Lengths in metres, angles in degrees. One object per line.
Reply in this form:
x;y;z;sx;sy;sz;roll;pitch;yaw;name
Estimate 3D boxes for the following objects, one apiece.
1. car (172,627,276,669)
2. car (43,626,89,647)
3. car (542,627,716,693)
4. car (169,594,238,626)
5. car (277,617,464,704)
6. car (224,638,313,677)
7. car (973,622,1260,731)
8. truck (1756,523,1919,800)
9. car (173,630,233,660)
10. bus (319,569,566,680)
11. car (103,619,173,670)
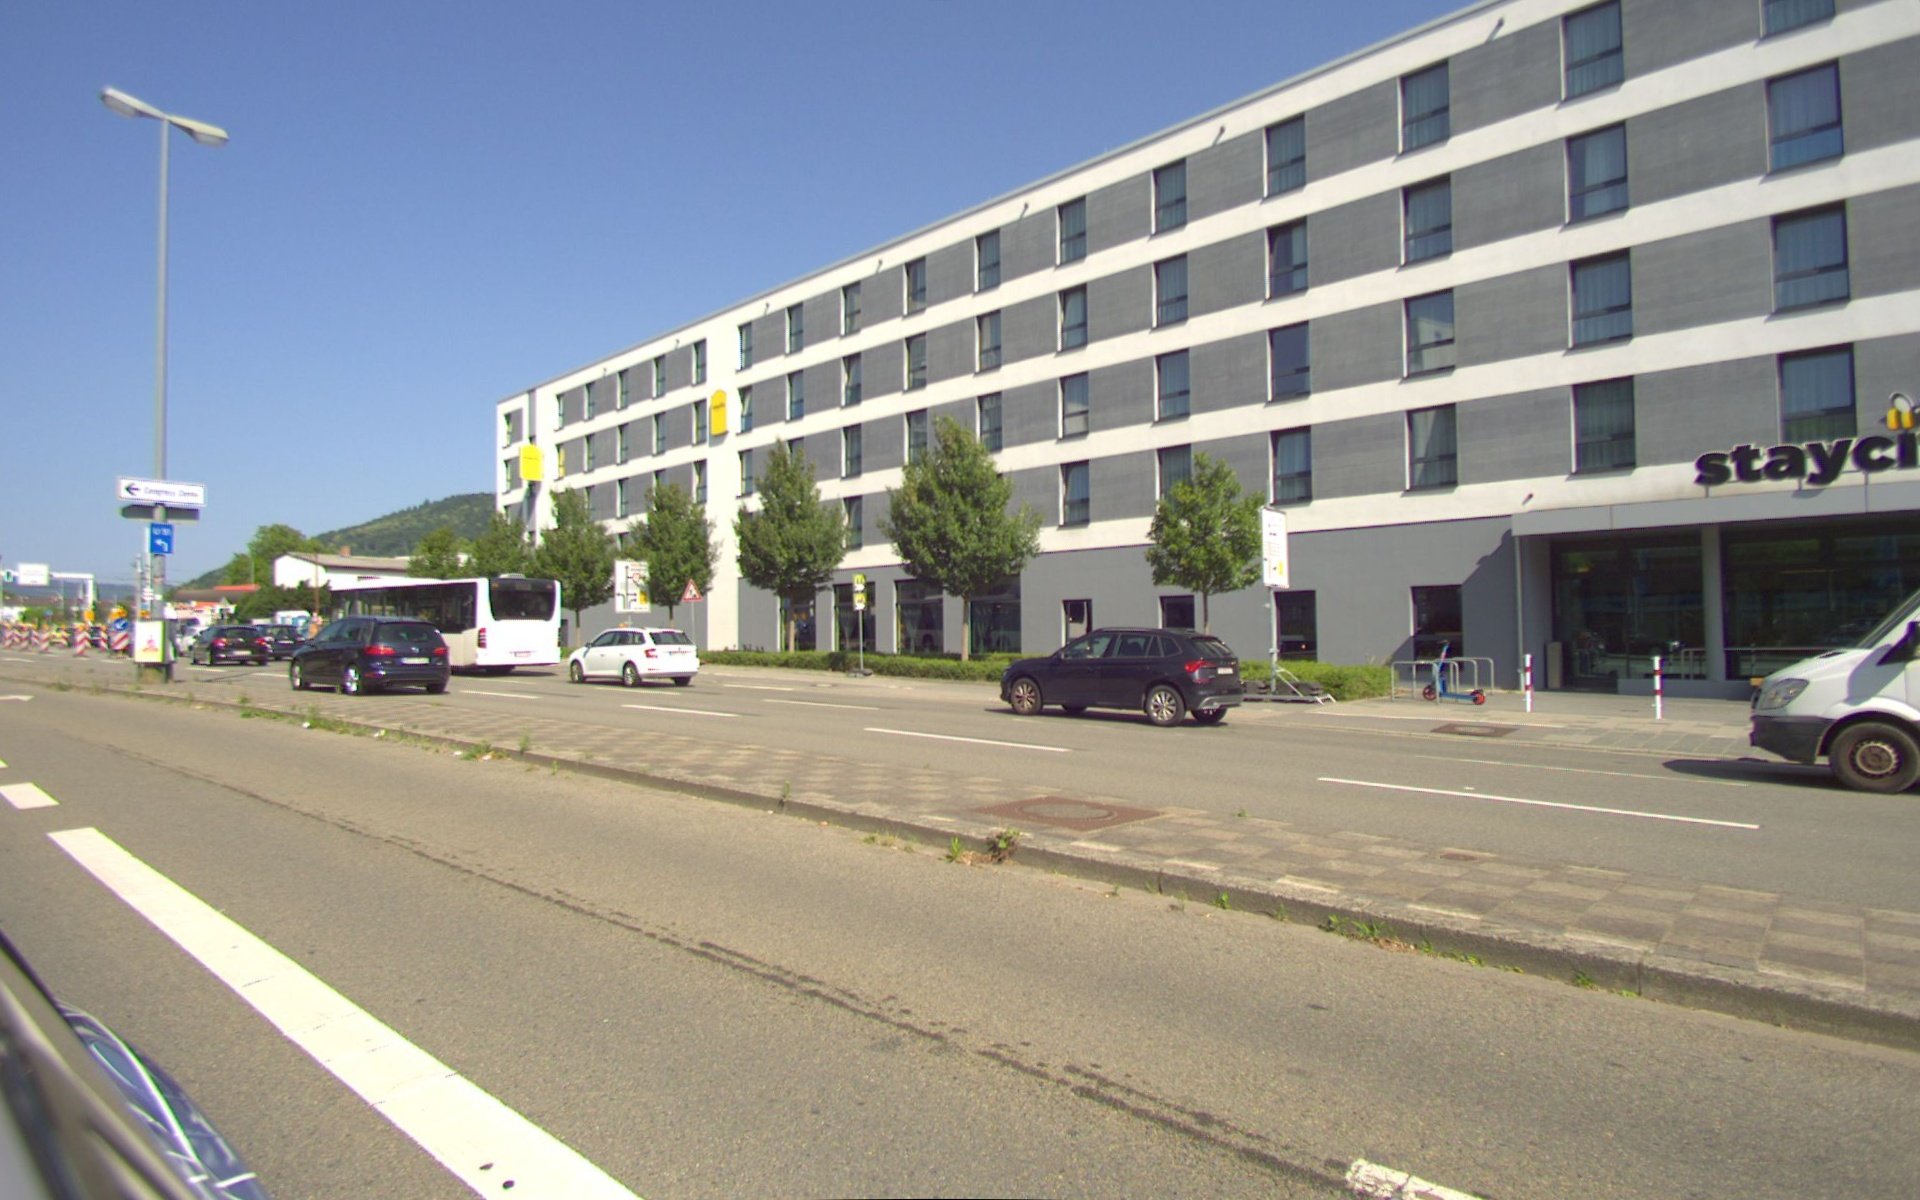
-27.024;1.698;37.095;4.887;1.443;1.973;-1;-2;40;car
-67.263;2.719;76.118;4.888;1.534;1.973;-1;-2;41;car
-8.486;1.474;25.837;4.403;1.497;1.976;0;-2;36;car
-35.824;0.452;47.896;3.997;1.462;1.741;0;0;40;car
-12.213;1.181;20.882;4.127;1.630;1.868;-1;-2;37;car
-29.700;2.423;43.424;4.888;1.534;1.973;-1;-2;41;car
2.537;1.213;17.039;4.411;1.590;1.972;-1;-4;42;car
11.173;0.546;8.879;6.435;2.564;2.332;-1;-2;42;truck
-42.477;2.493;56.757;3.584;1.631;1.699;-1;-1;36;car
-17.265;0.838;33.089;11.966;3.102;2.710;-1;-4;40;bus
-35.550;1.863;43.712;4.162;2.029;1.658;0;0;41;car
